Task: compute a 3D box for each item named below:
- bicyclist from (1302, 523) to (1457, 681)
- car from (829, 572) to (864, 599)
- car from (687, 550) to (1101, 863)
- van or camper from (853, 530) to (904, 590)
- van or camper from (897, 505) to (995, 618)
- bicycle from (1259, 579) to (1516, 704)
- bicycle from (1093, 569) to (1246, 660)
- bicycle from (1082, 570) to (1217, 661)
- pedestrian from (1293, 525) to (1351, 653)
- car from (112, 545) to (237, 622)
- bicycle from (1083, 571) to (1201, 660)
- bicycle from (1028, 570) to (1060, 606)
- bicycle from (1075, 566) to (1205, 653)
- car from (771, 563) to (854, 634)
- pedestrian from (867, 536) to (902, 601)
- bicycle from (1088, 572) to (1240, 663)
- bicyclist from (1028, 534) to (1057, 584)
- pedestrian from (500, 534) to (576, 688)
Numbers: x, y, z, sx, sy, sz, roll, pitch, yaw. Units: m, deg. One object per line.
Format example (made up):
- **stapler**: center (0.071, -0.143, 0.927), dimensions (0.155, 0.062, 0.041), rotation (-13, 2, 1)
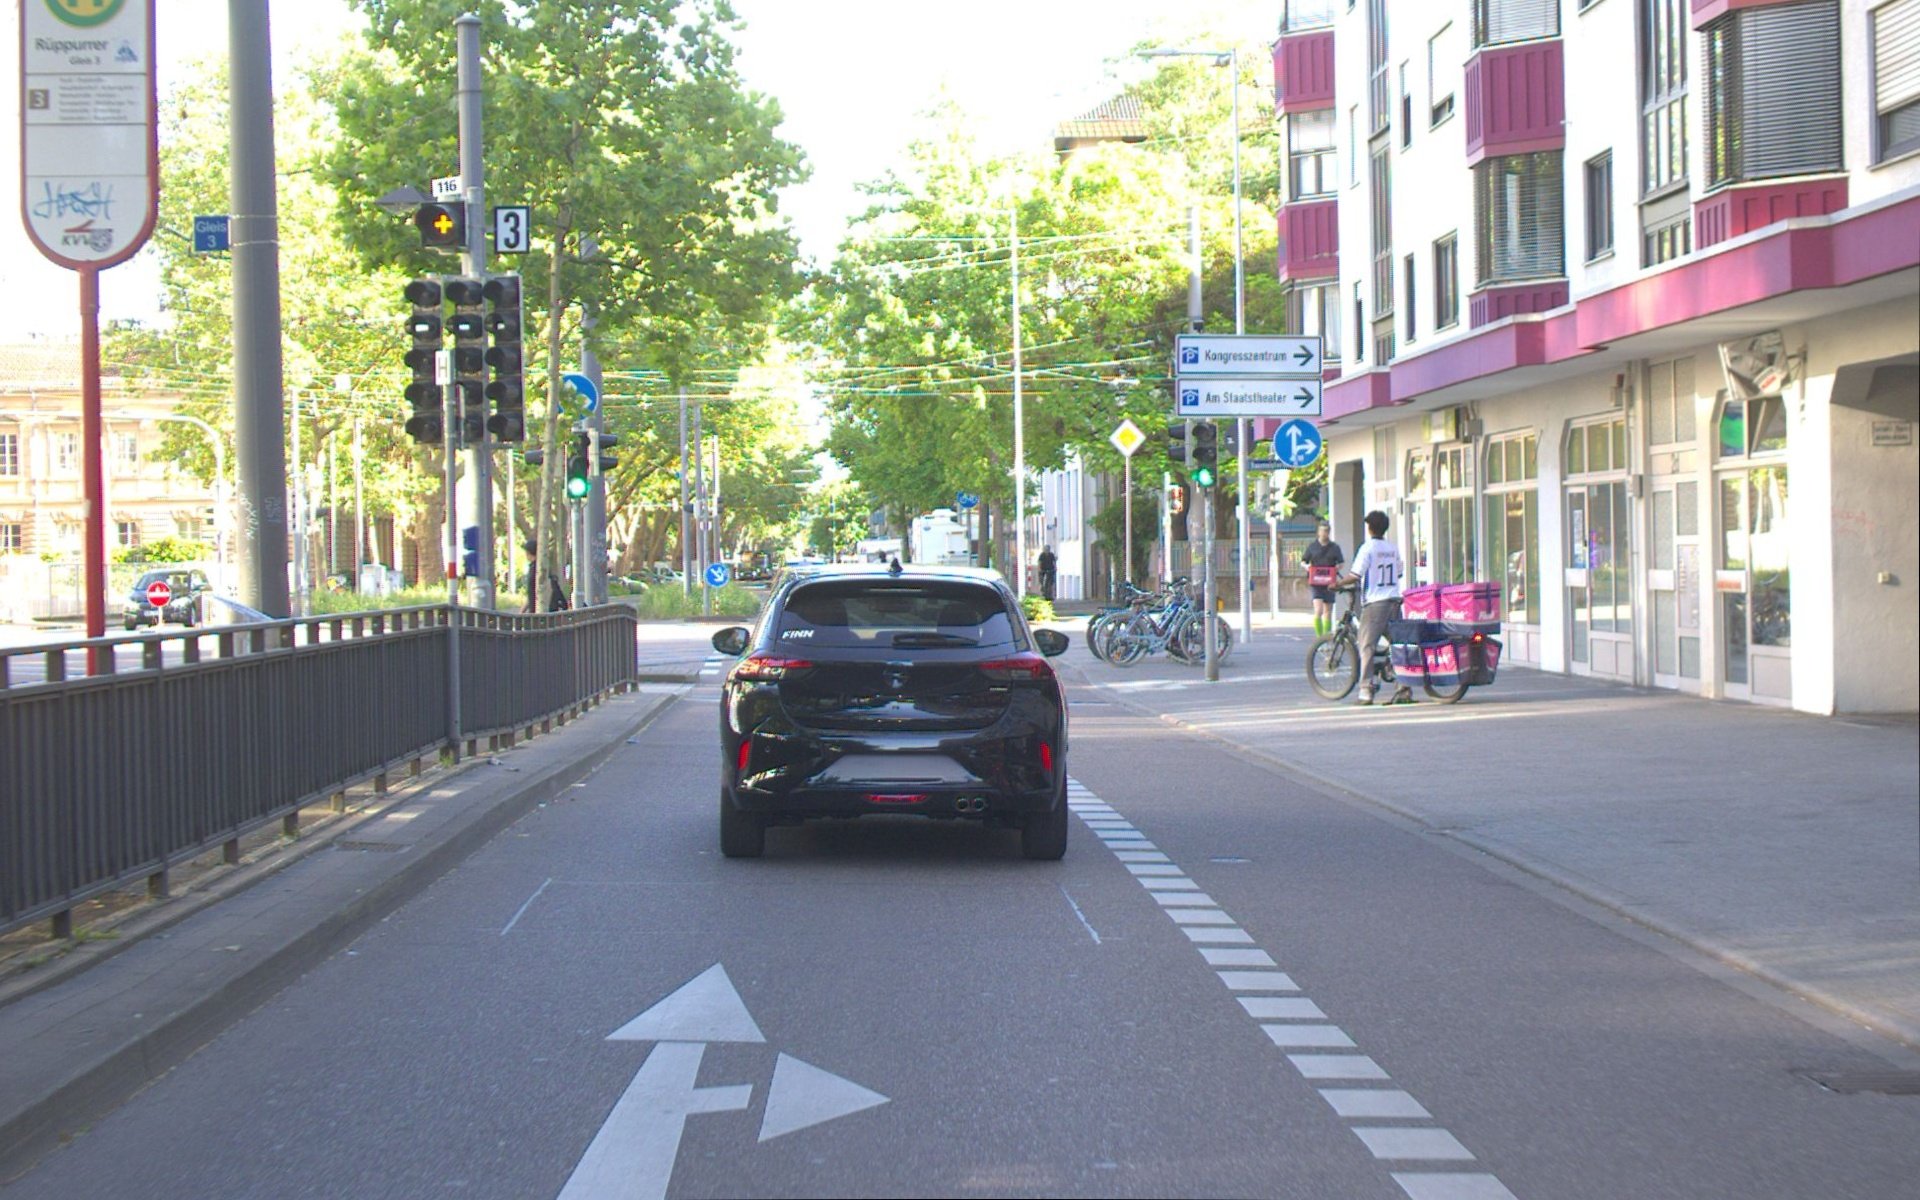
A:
- **bicyclist**: center (4.192, 0.015, 34.328), dimensions (1.057, 1.534, 1.079), rotation (-2, 1, -39)
- **car**: center (-6.293, -0.796, 190.895), dimensions (1.905, 1.420, 4.216), rotation (-1, 1, -1)
- **car**: center (-0.342, 0.463, 18.102), dimensions (1.905, 1.420, 4.216), rotation (-1, 1, -1)
- **van or camper**: center (-4.168, -2.063, 176.468), dimensions (2.486, 2.983, 5.434), rotation (1, 1, -1)
- **van or camper**: center (-0.470, -1.173, 103.117), dimensions (2.375, 3.114, 7.552), rotation (-4, 1, -3)
- **bicycle**: center (4.238, 0.397, 34.289), dimensions (0.960, 1.179, 2.597), rotation (-2, 1, -39)
- **bicycle**: center (2.841, 0.191, 46.630), dimensions (1.976, 1.195, 0.591), rotation (-1, 1, -6)
- **bicycle**: center (2.610, 0.217, 47.501), dimensions (1.831, 1.216, 0.496), rotation (-1, 1, 2)
- **pedestrian**: center (5.339, -0.166, 50.752), dimensions (0.722, 1.851, 0.801), rotation (-1, 1, -2)
- **car**: center (-20.979, -0.463, 91.954), dimensions (1.994, 1.941, 4.423), rotation (-1, 1, 5)
- **bicycle**: center (2.546, 0.214, 48.071), dimensions (1.623, 1.195, 0.496), rotation (-1, 0, 3)
- **bicycle**: center (2.526, -0.366, 103.900), dimensions (0.639, 1.066, 1.951), rotation (-1, 0, -8)
- **bicycle**: center (2.553, 0.131, 48.818), dimensions (1.802, 1.195, 0.545), rotation (-1, -1, 3)
- **car**: center (-3.441, -0.056, 80.956), dimensions (1.832, 1.617, 4.285), rotation (1, 1, -1)
- **pedestrian**: center (-2.402, -0.996, 108.883), dimensions (1.036, 2.017, 1.212), rotation (-1, 1, -3)
- **bicycle**: center (2.726, 0.225, 45.997), dimensions (1.939, 1.166, 0.572), rotation (-1, 1, -4)
- **bicyclist**: center (2.502, -1.234, 103.918), dimensions (0.748, 1.504, 0.702), rotation (-1, 1, -8)
- **pedestrian**: center (-4.844, 0.123, 39.468), dimensions (0.734, 1.741, 0.712), rotation (-1, 1, 3)
